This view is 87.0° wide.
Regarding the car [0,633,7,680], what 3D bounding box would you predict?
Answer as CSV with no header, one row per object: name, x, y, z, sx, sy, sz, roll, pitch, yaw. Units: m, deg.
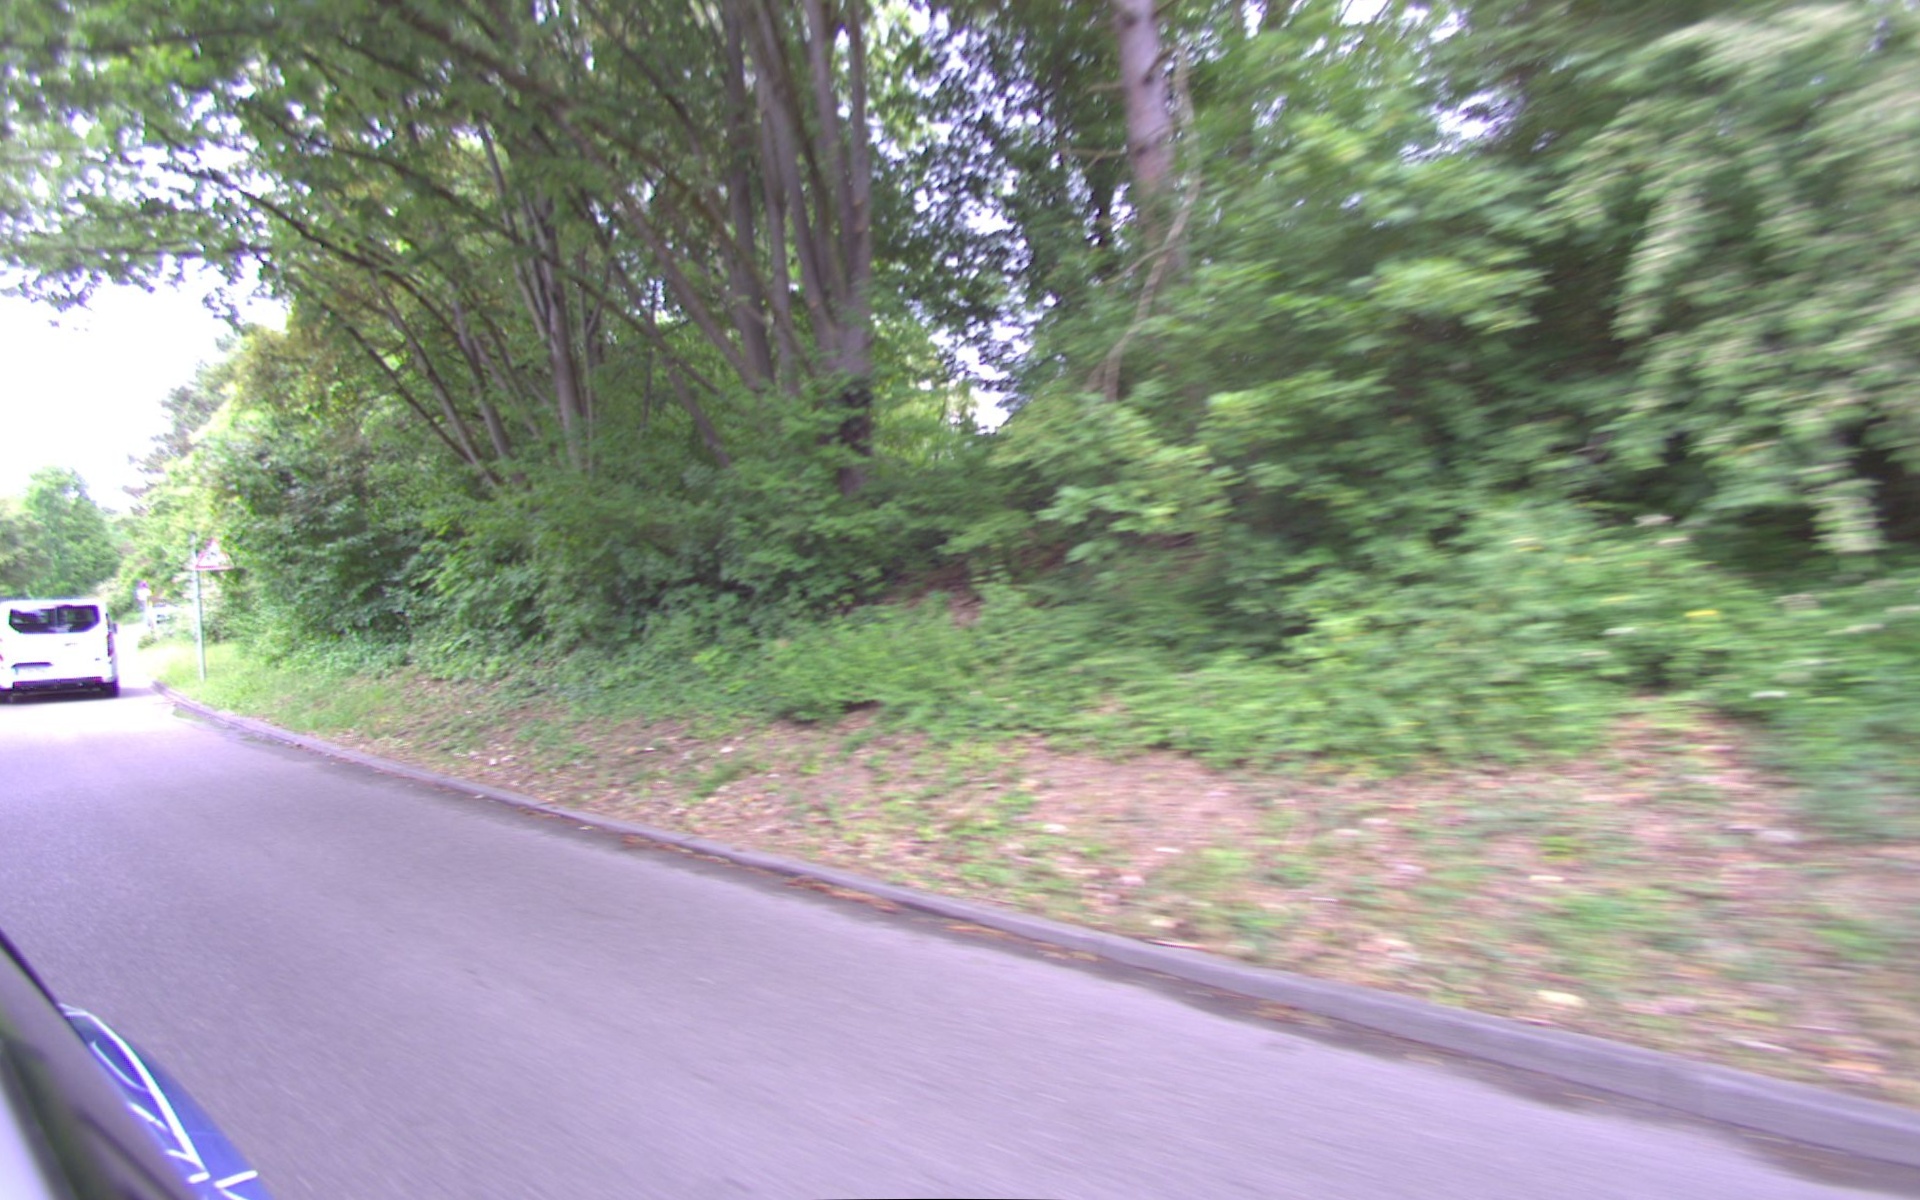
car,-32.208,1.868,32.726,1.839,1.460,4.181,-2,-1,-41

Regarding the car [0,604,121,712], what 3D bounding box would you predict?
car,-18.953,1.124,21.188,2.117,2.029,4.007,-1,0,-40

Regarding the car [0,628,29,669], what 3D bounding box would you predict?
car,-41.599,2.082,43.681,1.894,1.694,4.006,1,-3,-41
